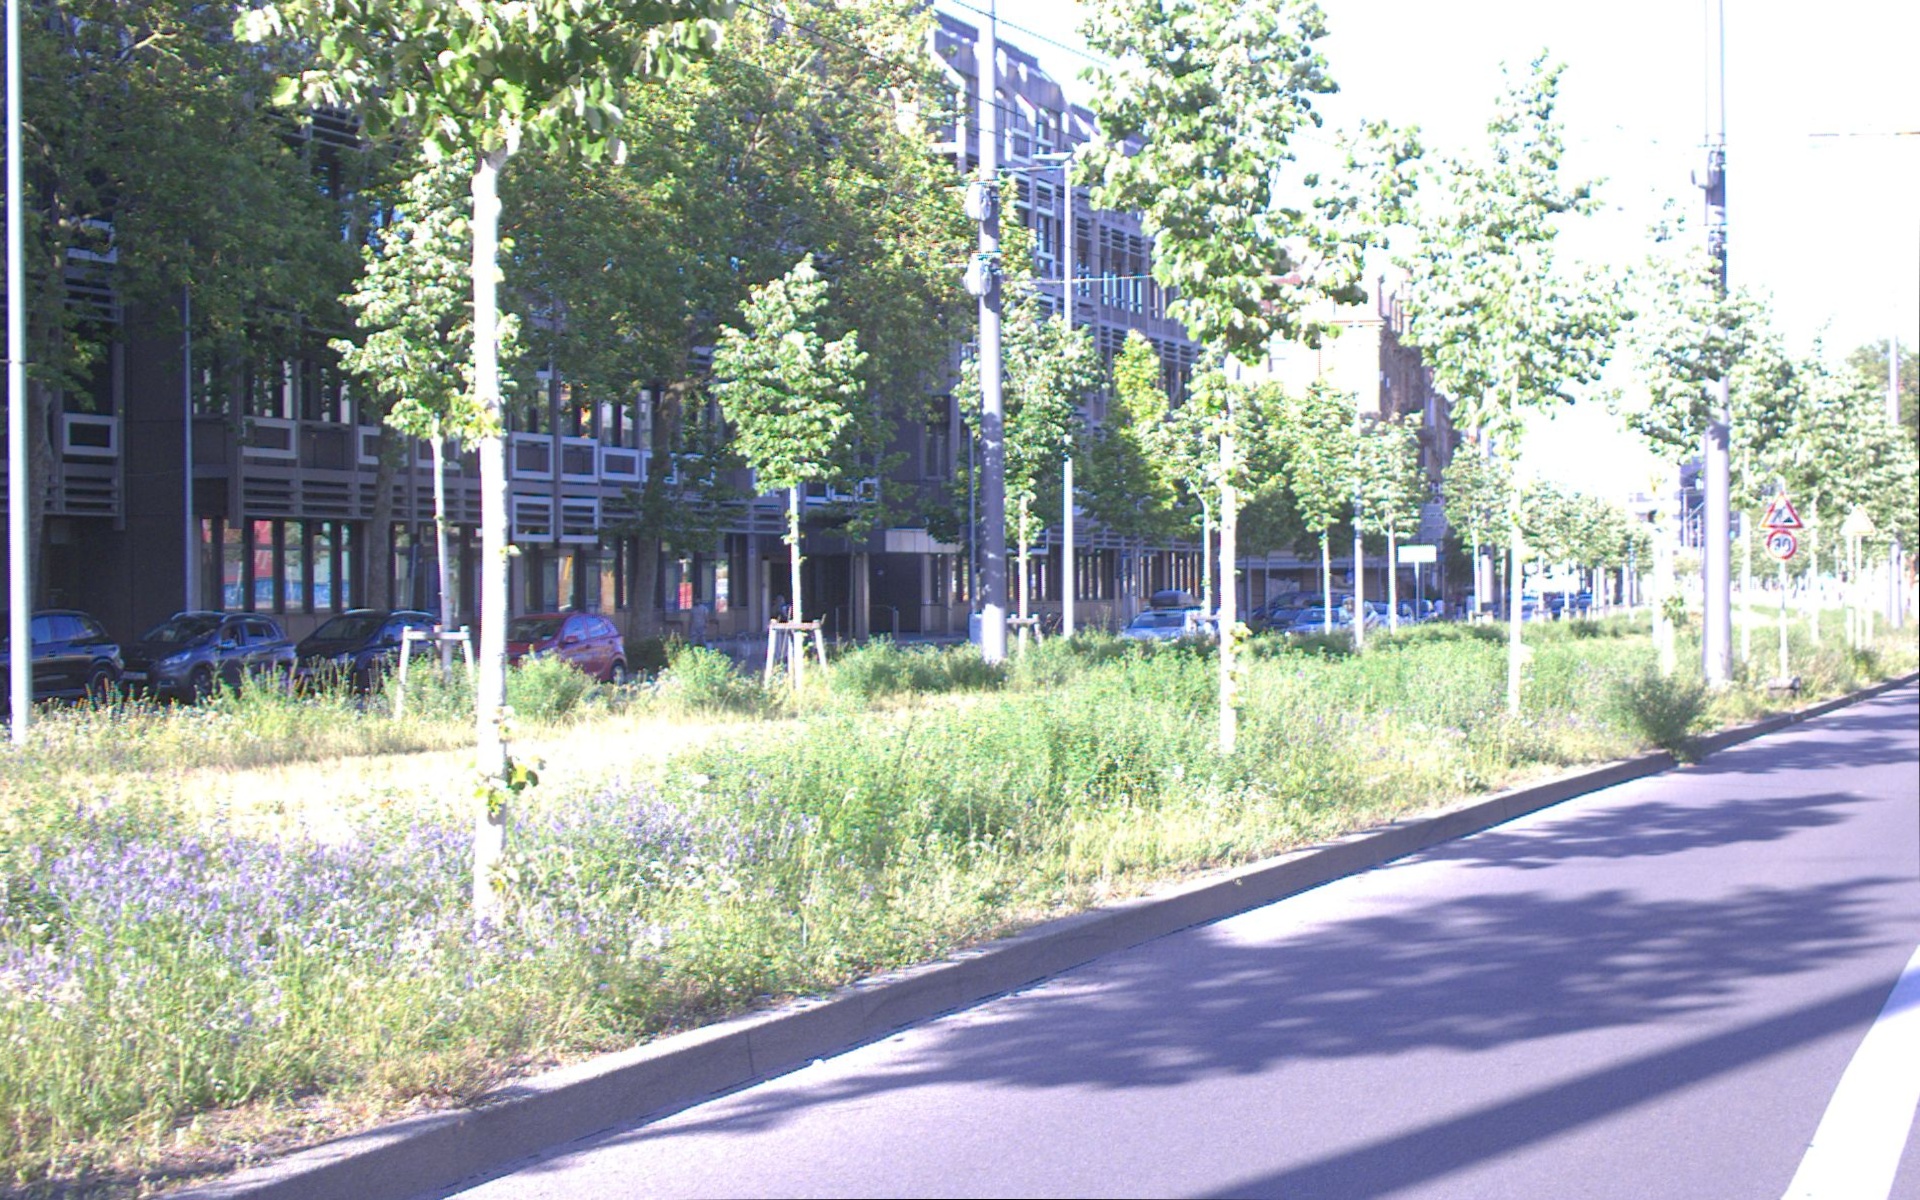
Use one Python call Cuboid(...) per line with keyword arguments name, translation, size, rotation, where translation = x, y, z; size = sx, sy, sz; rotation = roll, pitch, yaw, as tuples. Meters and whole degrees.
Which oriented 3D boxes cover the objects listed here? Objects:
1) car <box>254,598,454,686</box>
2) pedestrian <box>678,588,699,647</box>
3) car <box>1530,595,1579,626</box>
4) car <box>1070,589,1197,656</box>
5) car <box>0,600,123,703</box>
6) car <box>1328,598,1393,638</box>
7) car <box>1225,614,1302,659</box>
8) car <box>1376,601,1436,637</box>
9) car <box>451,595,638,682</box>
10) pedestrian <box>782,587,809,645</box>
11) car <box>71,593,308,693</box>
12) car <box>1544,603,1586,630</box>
Cuboid(name="car", translation=(-11.448, 0.790, 65.239), size=(1.862, 1.591, 4.273), rotation=(-1, -1, 20))
Cuboid(name="pedestrian", translation=(-7.163, 0.461, 90.784), size=(0.409, 1.556, 0.446), rotation=(0, 0, 20))
Cuboid(name="car", translation=(30.406, 0.516, 175.795), size=(1.905, 1.570, 4.406), rotation=(0, 0, 17))
Cuboid(name="car", translation=(4.416, 0.552, 86.697), size=(1.842, 1.589, 4.688), rotation=(-2, 0, 20))
Cuboid(name="car", translation=(-15.197, 0.791, 54.129), size=(1.745, 1.552, 4.619), rotation=(1, 0, 18))
Cuboid(name="car", translation=(16.284, 0.726, 139.608), size=(1.905, 1.570, 4.297), rotation=(0, 0, 17))
Cuboid(name="car", translation=(10.981, 1.320, 124.287), size=(1.905, 1.570, 4.297), rotation=(0, 0, 17))
Cuboid(name="car", translation=(19.833, 0.816, 152.745), size=(1.905, 1.570, 4.297), rotation=(0, 0, 17))
Cuboid(name="car", translation=(-7.354, 0.669, 61.111), size=(1.712, 1.448, 3.571), rotation=(-3, -1, 23))
Cuboid(name="pedestrian", translation=(-4.355, 0.411, 91.071), size=(0.664, 1.527, 0.649), rotation=(0, 0, 0))
Cuboid(name="car", translation=(-13.439, 0.730, 60.205), size=(1.912, 1.627, 4.357), rotation=(-2, -1, 21))
Cuboid(name="car", translation=(35.266, 0.970, 200.393), size=(1.905, 1.570, 4.297), rotation=(0, 0, 17))
